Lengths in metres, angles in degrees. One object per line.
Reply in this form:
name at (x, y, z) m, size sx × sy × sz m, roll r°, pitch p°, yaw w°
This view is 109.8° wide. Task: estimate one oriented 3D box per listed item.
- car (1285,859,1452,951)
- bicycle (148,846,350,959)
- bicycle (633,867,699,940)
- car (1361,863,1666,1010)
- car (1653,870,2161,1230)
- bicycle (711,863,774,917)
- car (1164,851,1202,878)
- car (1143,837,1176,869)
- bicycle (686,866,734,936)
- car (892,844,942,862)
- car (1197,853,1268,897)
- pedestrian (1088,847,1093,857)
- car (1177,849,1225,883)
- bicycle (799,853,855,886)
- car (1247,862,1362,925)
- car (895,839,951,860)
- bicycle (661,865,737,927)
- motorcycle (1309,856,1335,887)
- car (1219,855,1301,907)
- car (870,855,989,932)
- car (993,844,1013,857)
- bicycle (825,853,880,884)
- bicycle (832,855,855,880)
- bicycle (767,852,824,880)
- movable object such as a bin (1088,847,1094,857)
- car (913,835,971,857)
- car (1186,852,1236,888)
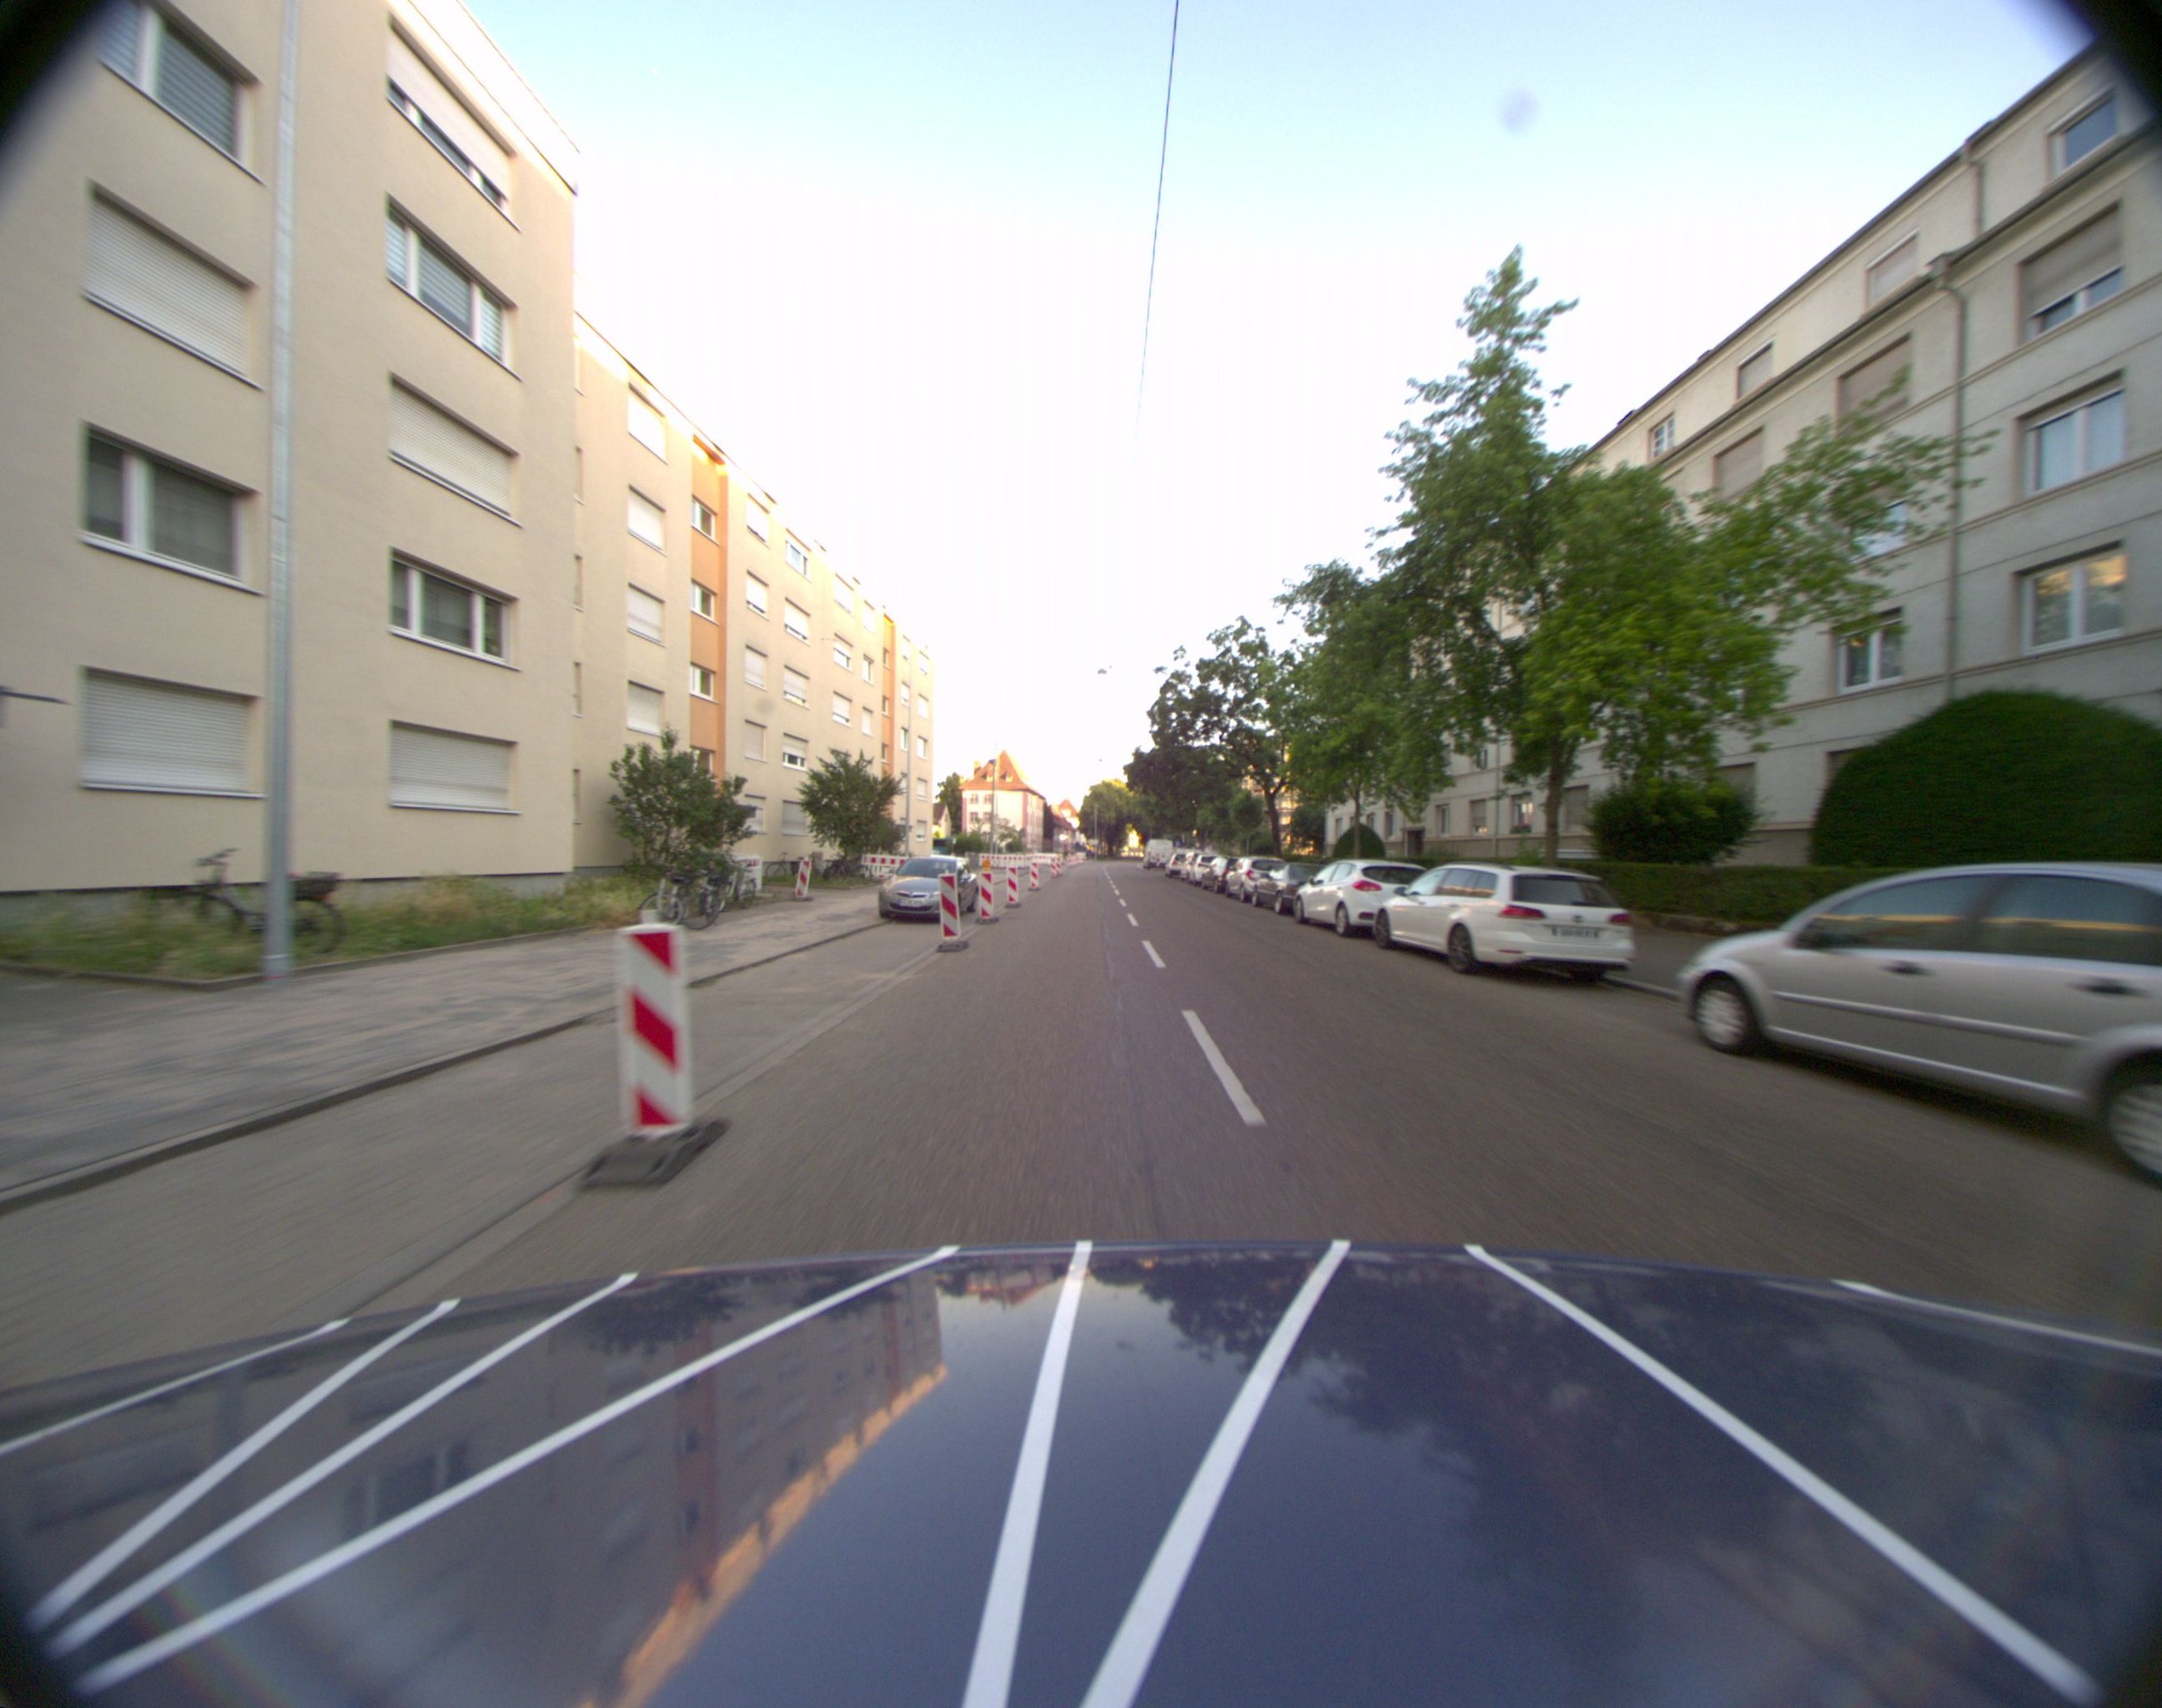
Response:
car at (5.639, 0.920, 15.488) m, size 1.696 × 1.451 × 4.144 m, roll 3°, pitch 1°, yaw -1°
bicycle at (-9.268, 0.524, 8.508) m, size 1.597 × 1.215 × 0.485 m, roll 0°, pitch 1°, yaw -5°
bicycle at (-7.375, 0.846, 13.592) m, size 0.628 × 1.165 × 1.814 m, roll 0°, pitch 1°, yaw -15°
car at (5.648, 0.945, 10.720) m, size 1.696 × 1.451 × 4.483 m, roll 3°, pitch 1°, yaw 1°
car at (5.610, 0.947, 4.450) m, size 1.594 × 1.496 × 3.799 m, roll 3°, pitch 1°, yaw 1°
bicycle at (-7.829, 0.804, 17.676) m, size 0.557 × 1.165 × 1.817 m, roll 0°, pitch 1°, yaw 4°
car at (6.093, 0.608, 45.739) m, size 1.756 × 1.463 × 4.224 m, roll 3°, pitch 1°, yaw 2°
car at (6.657, -0.100, 65.026) m, size 2.184 × 2.447 × 6.102 m, roll 3°, pitch 1°, yaw 1°
bicycle at (-6.847, 0.831, 14.085) m, size 0.558 × 1.165 × 1.813 m, roll 0°, pitch 1°, yaw -19°
car at (-14.074, -0.124, 65.365) m, size 3.839 × 1.444 × 1.695 m, roll 1°, pitch 1°, yaw 3°
car at (5.942, 0.759, 30.288) m, size 1.757 × 1.471 × 4.677 m, roll 3°, pitch 1°, yaw -1°
pedestrian at (1.544, -0.331, 123.897) m, size 0.716 × 1.600 × 0.518 m, roll 0°, pitch 1°, yaw -4°
car at (6.311, 0.604, 40.271) m, size 1.757 × 1.622 × 4.106 m, roll 3°, pitch 1°, yaw 0°
bicycle at (-9.034, 0.533, 27.003) m, size 1.755 × 0.981 × 0.558 m, roll 6°, pitch 2°, yaw 10°
car at (5.848, 0.966, 20.446) m, size 1.678 × 1.324 × 4.579 m, roll 3°, pitch 1°, yaw 0°
car at (-14.090, -0.383, 68.020) m, size 4.489 × 1.800 × 2.005 m, roll 1°, pitch 1°, yaw 3°
bicycle at (-7.812, 0.830, 15.627) m, size 0.557 × 1.165 × 1.817 m, roll 0°, pitch 1°, yaw 4°
motorcycle at (10.511, 0.749, 33.155) m, size 0.588 × 1.317 × 1.828 m, roll 0°, pitch 1°, yaw 1°
car at (5.867, 0.844, 25.318) m, size 1.679 × 1.451 × 3.704 m, roll 3°, pitch 1°, yaw -2°
car at (-3.554, 0.857, 18.689) m, size 1.780 × 1.482 × 4.573 m, roll 4°, pitch 1°, yaw 2°
car at (-9.887, -0.464, 96.962) m, size 1.919 × 1.620 × 4.808 m, roll 0°, pitch 1°, yaw 2°
bicycle at (-8.634, 0.544, 28.732) m, size 1.815 × 1.017 × 0.558 m, roll 5°, pitch 2°, yaw 2°
bicycle at (-9.384, 0.521, 30.031) m, size 0.559 × 0.860 × 1.610 m, roll 4°, pitch 2°, yaw -27°
bicycle at (-10.511, 0.448, 27.975) m, size 1.821 × 0.916 × 0.556 m, roll 4°, pitch 2°, yaw -40°
movable object such as a bin at (1.609, -0.339, 124.525) m, size 0.977 × 1.600 × 0.634 m, roll 0°, pitch 1°, yaw -4°
car at (-13.329, -0.760, 72.973) m, size 5.029 × 2.117 × 2.291 m, roll 0°, pitch 1°, yaw 8°
car at (6.048, 0.698, 35.703) m, size 1.756 × 1.471 × 3.944 m, roll 3°, pitch 1°, yaw 2°
